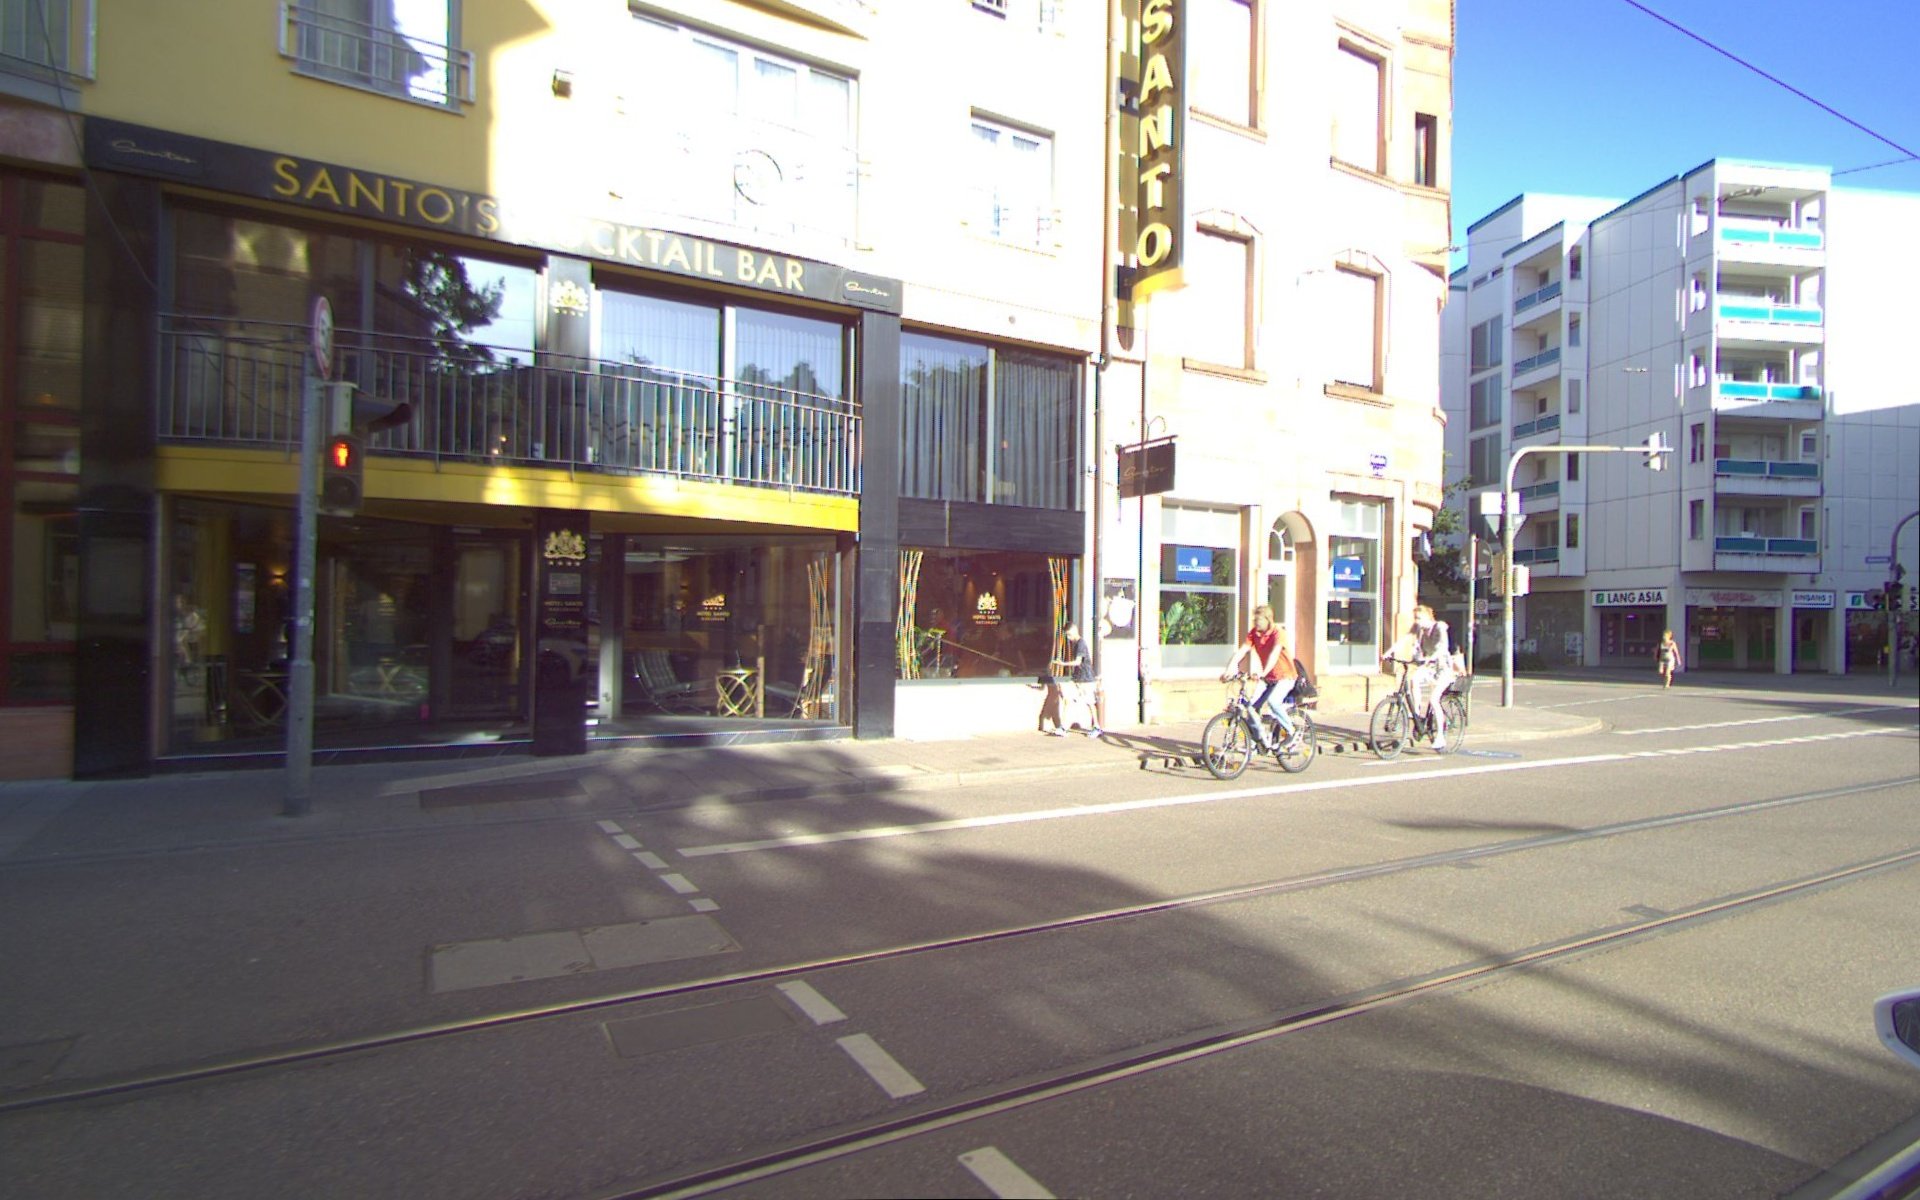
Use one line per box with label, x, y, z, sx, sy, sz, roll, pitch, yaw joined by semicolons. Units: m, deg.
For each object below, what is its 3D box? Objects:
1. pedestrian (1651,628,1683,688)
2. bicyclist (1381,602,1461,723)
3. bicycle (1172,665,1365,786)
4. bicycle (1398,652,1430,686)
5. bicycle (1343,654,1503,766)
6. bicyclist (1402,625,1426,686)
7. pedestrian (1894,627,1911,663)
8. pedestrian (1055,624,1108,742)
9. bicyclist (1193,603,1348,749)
pedestrian;18.827;1.542;26.757;0.510;1.573;0.540;1;-1;-31
bicyclist;5.488;0.726;11.958;0.671;1.394;0.587;1;-1;-31
bicycle;3.181;1.232;10.293;2.038;1.079;0.727;2;-1;-32
bicycle;13.710;2.071;30.369;0.776;0.921;1.814;1;-1;21
bicycle;5.522;1.256;11.942;2.038;1.199;0.727;2;-1;-32
bicyclist;13.702;1.655;30.330;0.603;1.787;0.974;1;-1;21
pedestrian;46.463;2.230;49.515;0.541;1.740;0.453;1;-1;-31
pedestrian;1.511;1.022;12.531;0.510;1.429;0.402;1;-1;-31
bicyclist;3.188;0.745;10.302;1.452;1.399;0.731;2;-1;-32
